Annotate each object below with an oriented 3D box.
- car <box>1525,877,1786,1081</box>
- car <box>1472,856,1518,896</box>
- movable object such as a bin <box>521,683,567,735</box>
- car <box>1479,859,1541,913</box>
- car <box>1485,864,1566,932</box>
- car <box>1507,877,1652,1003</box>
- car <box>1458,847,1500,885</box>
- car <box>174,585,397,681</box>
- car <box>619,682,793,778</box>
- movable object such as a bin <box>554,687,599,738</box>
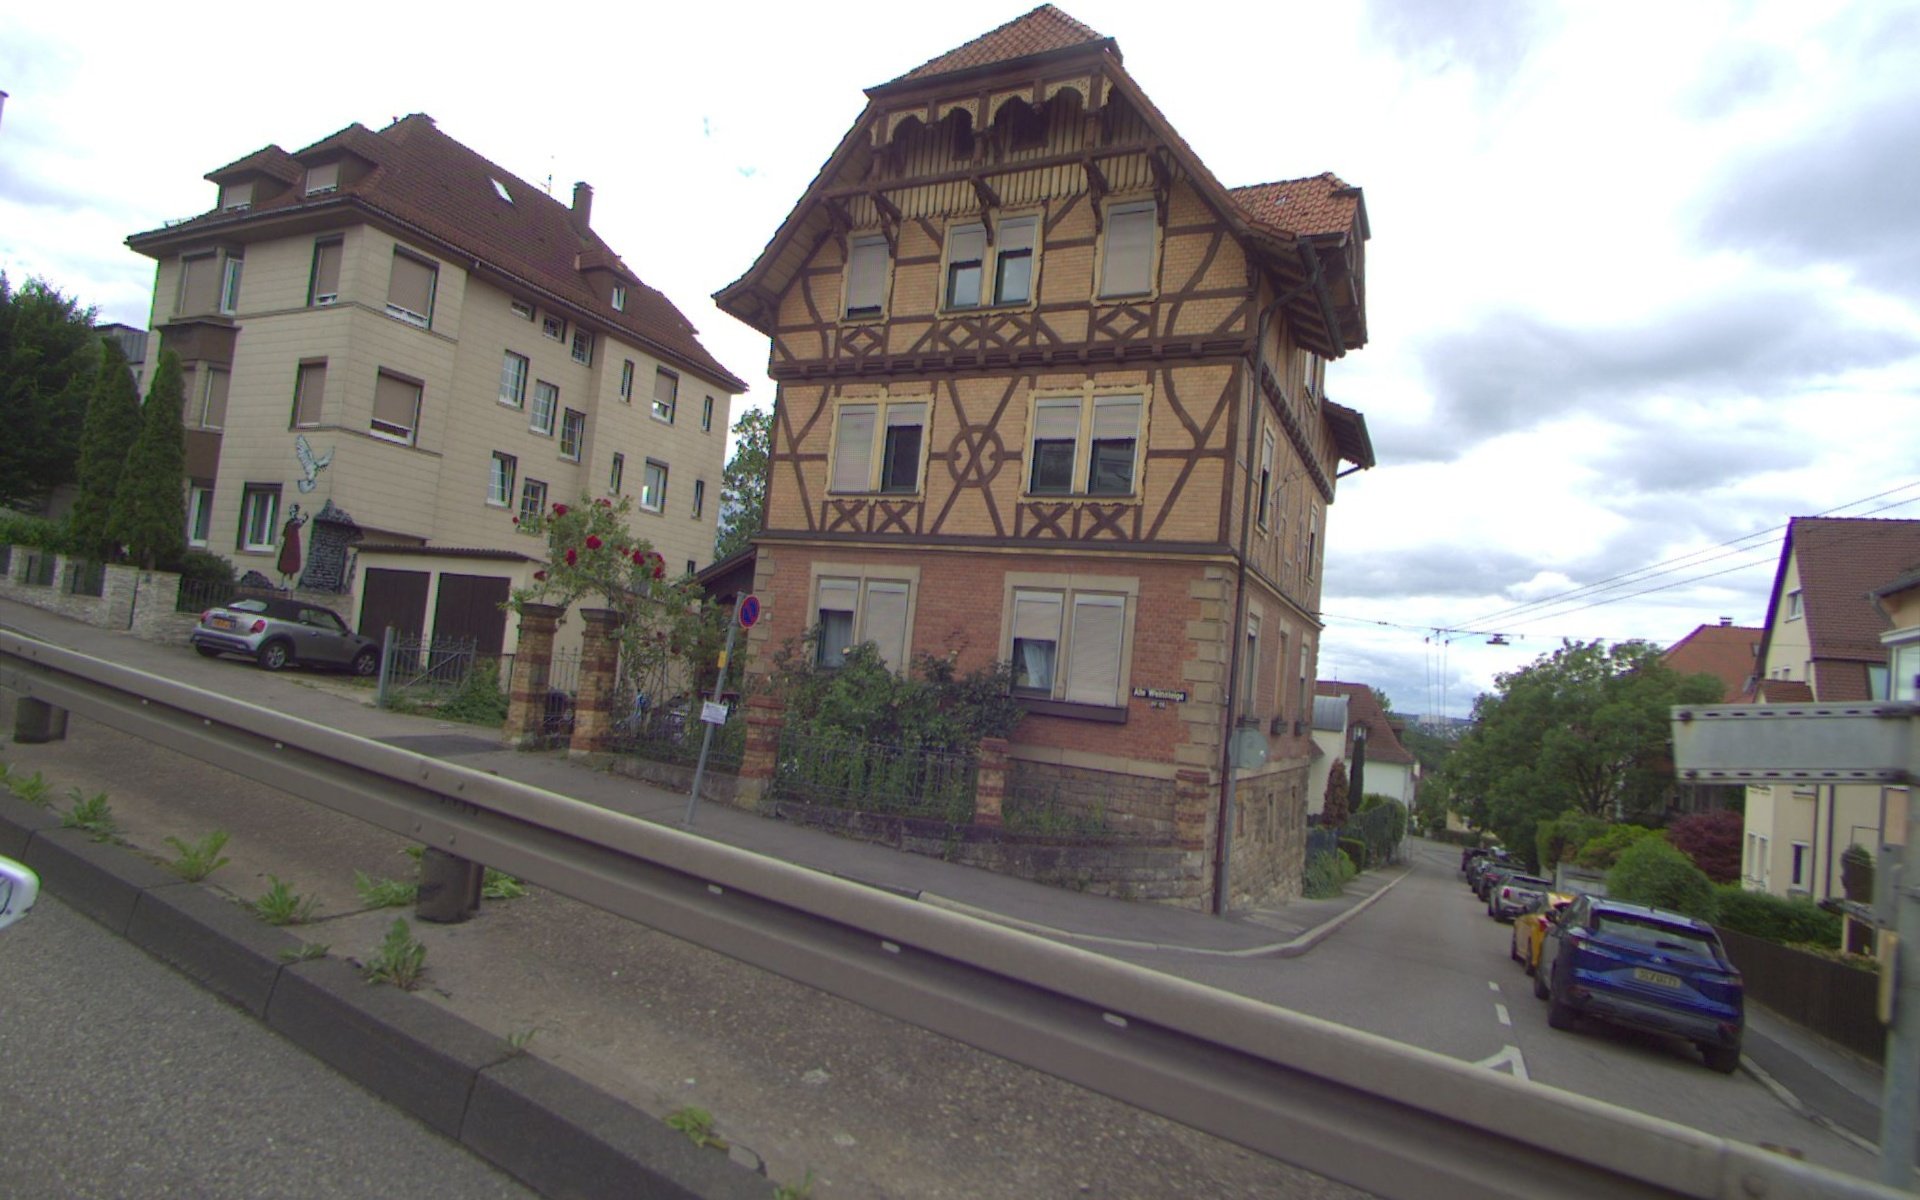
[{"bbox_3d":[8.502,4.544,12.695,1.965,1.585,4.016,8,-10,27],"label":"car"},{"bbox_3d":[27.920,14.366,52.598,1.760,1.585,4.015,8,-9,27],"label":"car"},{"bbox_3d":[-9.046,2.376,21.888,0.612,1.016,0.534,7,-3,32],"label":"movable object such as a bin"},{"bbox_3d":[21.685,11.235,39.796,1.760,1.585,4.015,8,-9,27],"label":"car"},{"bbox_3d":[16.576,8.712,29.619,1.683,1.417,3.907,8,-9,27],"label":"car"},{"bbox_3d":[10.885,5.919,17.918,1.647,1.472,4.015,8,-9,27],"label":"car"},{"bbox_3d":[33.316,17.053,64.639,1.964,1.815,4.015,7,-9,25],"label":"car"},{"bbox_3d":[-14.260,0.787,21.534,1.672,1.448,3.627,8,-6,13],"label":"car"},{"bbox_3d":[-5.912,3.137,23.859,1.804,1.595,3.683,7,-9,29],"label":"car"},{"bbox_3d":[-8.725,2.556,22.879,0.579,1.057,0.579,7,-3,32],"label":"movable object such as a bin"}]
